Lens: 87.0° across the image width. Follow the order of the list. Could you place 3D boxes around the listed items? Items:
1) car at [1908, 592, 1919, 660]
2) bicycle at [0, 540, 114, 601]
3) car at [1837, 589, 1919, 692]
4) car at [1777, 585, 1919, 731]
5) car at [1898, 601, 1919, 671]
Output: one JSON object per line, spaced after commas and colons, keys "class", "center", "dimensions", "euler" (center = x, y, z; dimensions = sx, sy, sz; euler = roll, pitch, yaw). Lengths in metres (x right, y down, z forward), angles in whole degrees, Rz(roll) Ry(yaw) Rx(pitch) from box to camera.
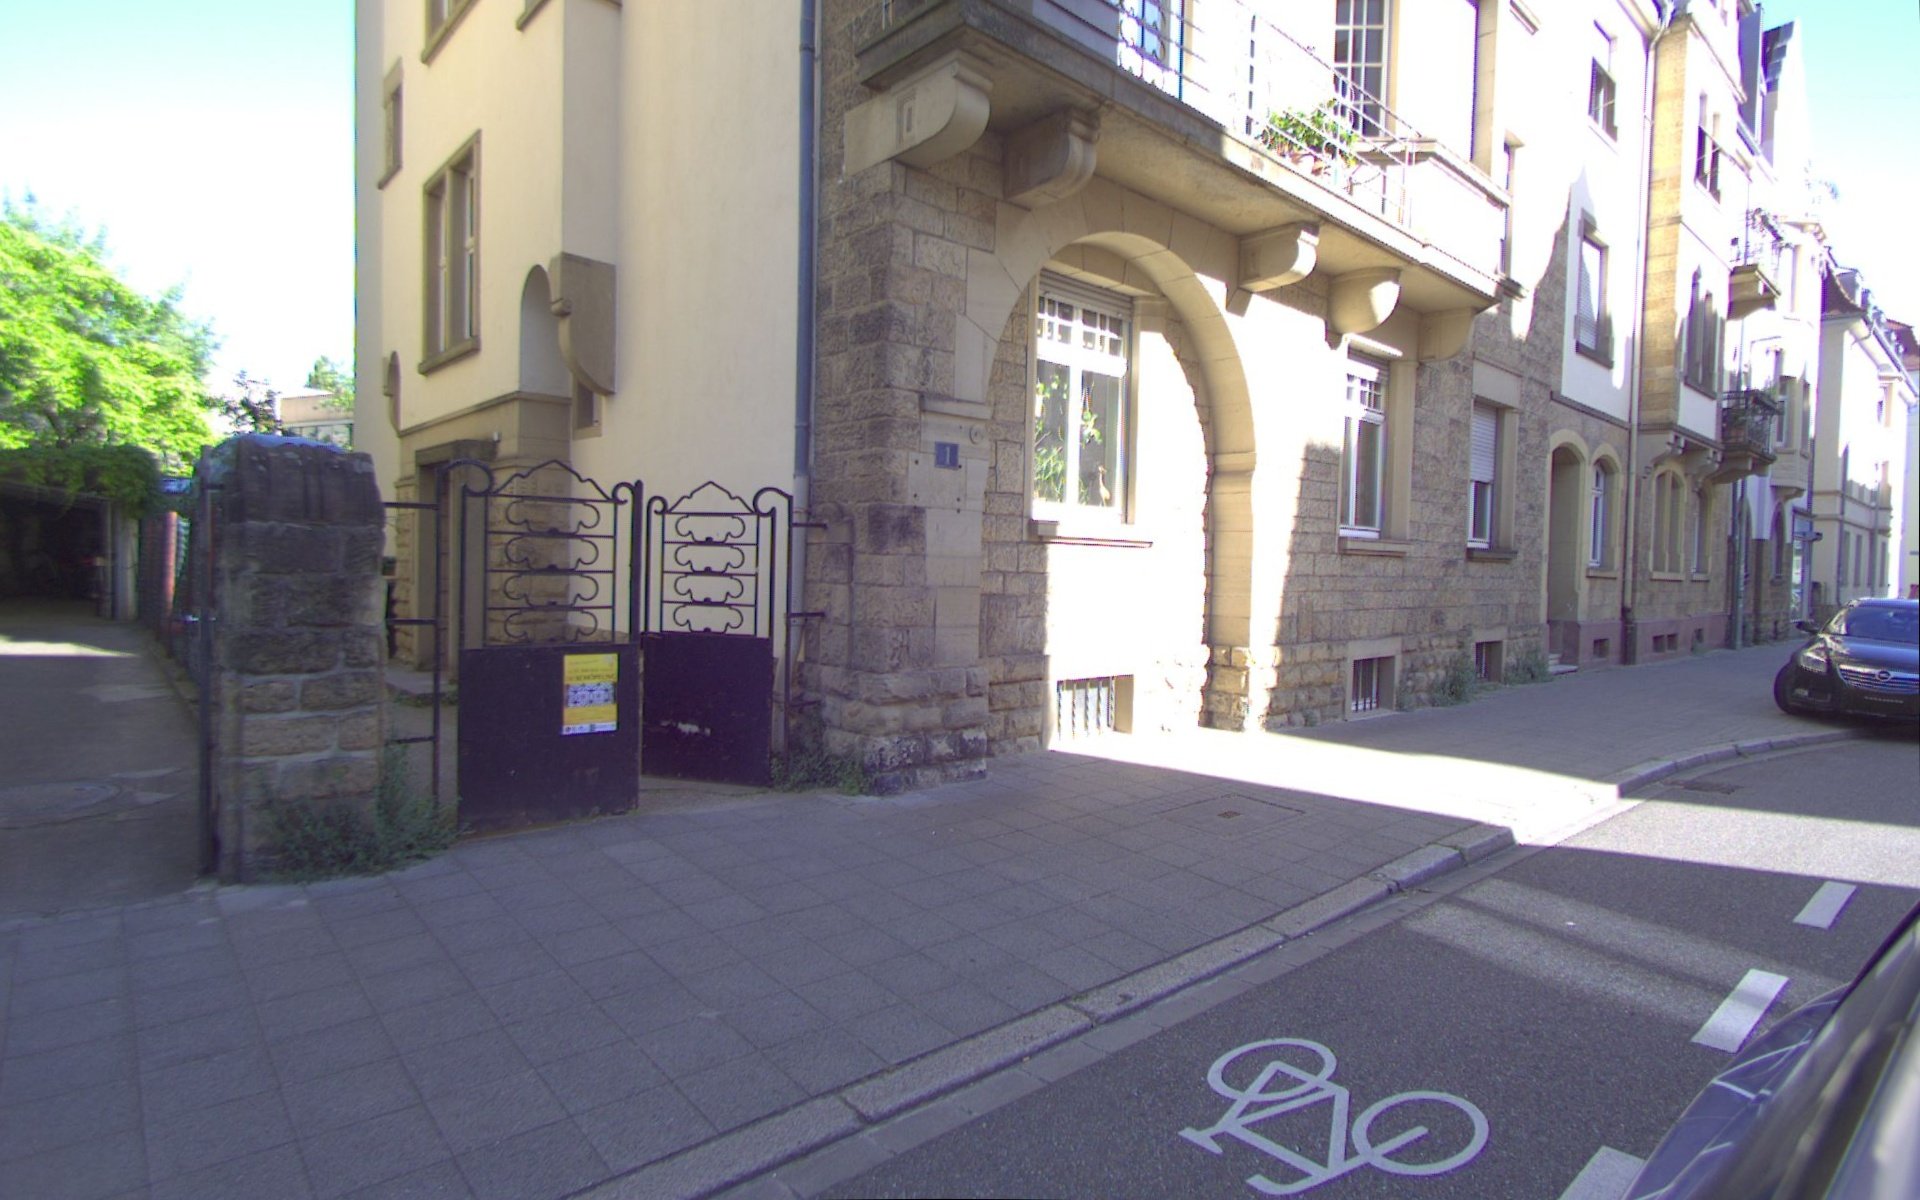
{"class": "car", "center": [22.387, 0.570, 22.495], "dimensions": [1.787, 1.447, 3.746], "euler": [3, 2, 44]}
{"class": "bicycle", "center": [-18.374, -0.607, 20.446], "dimensions": [2.834, 1.124, 0.865], "euler": [3, 2, 25]}
{"class": "car", "center": [15.451, 0.598, 16.185], "dimensions": [4.186, 1.460, 1.654], "euler": [0, 3, -43]}
{"class": "car", "center": [11.490, 0.611, 12.216], "dimensions": [4.265, 1.480, 1.869], "euler": [0, 3, -42]}
{"class": "car", "center": [19.383, 0.688, 19.551], "dimensions": [1.694, 1.270, 3.877], "euler": [3, 2, 45]}
